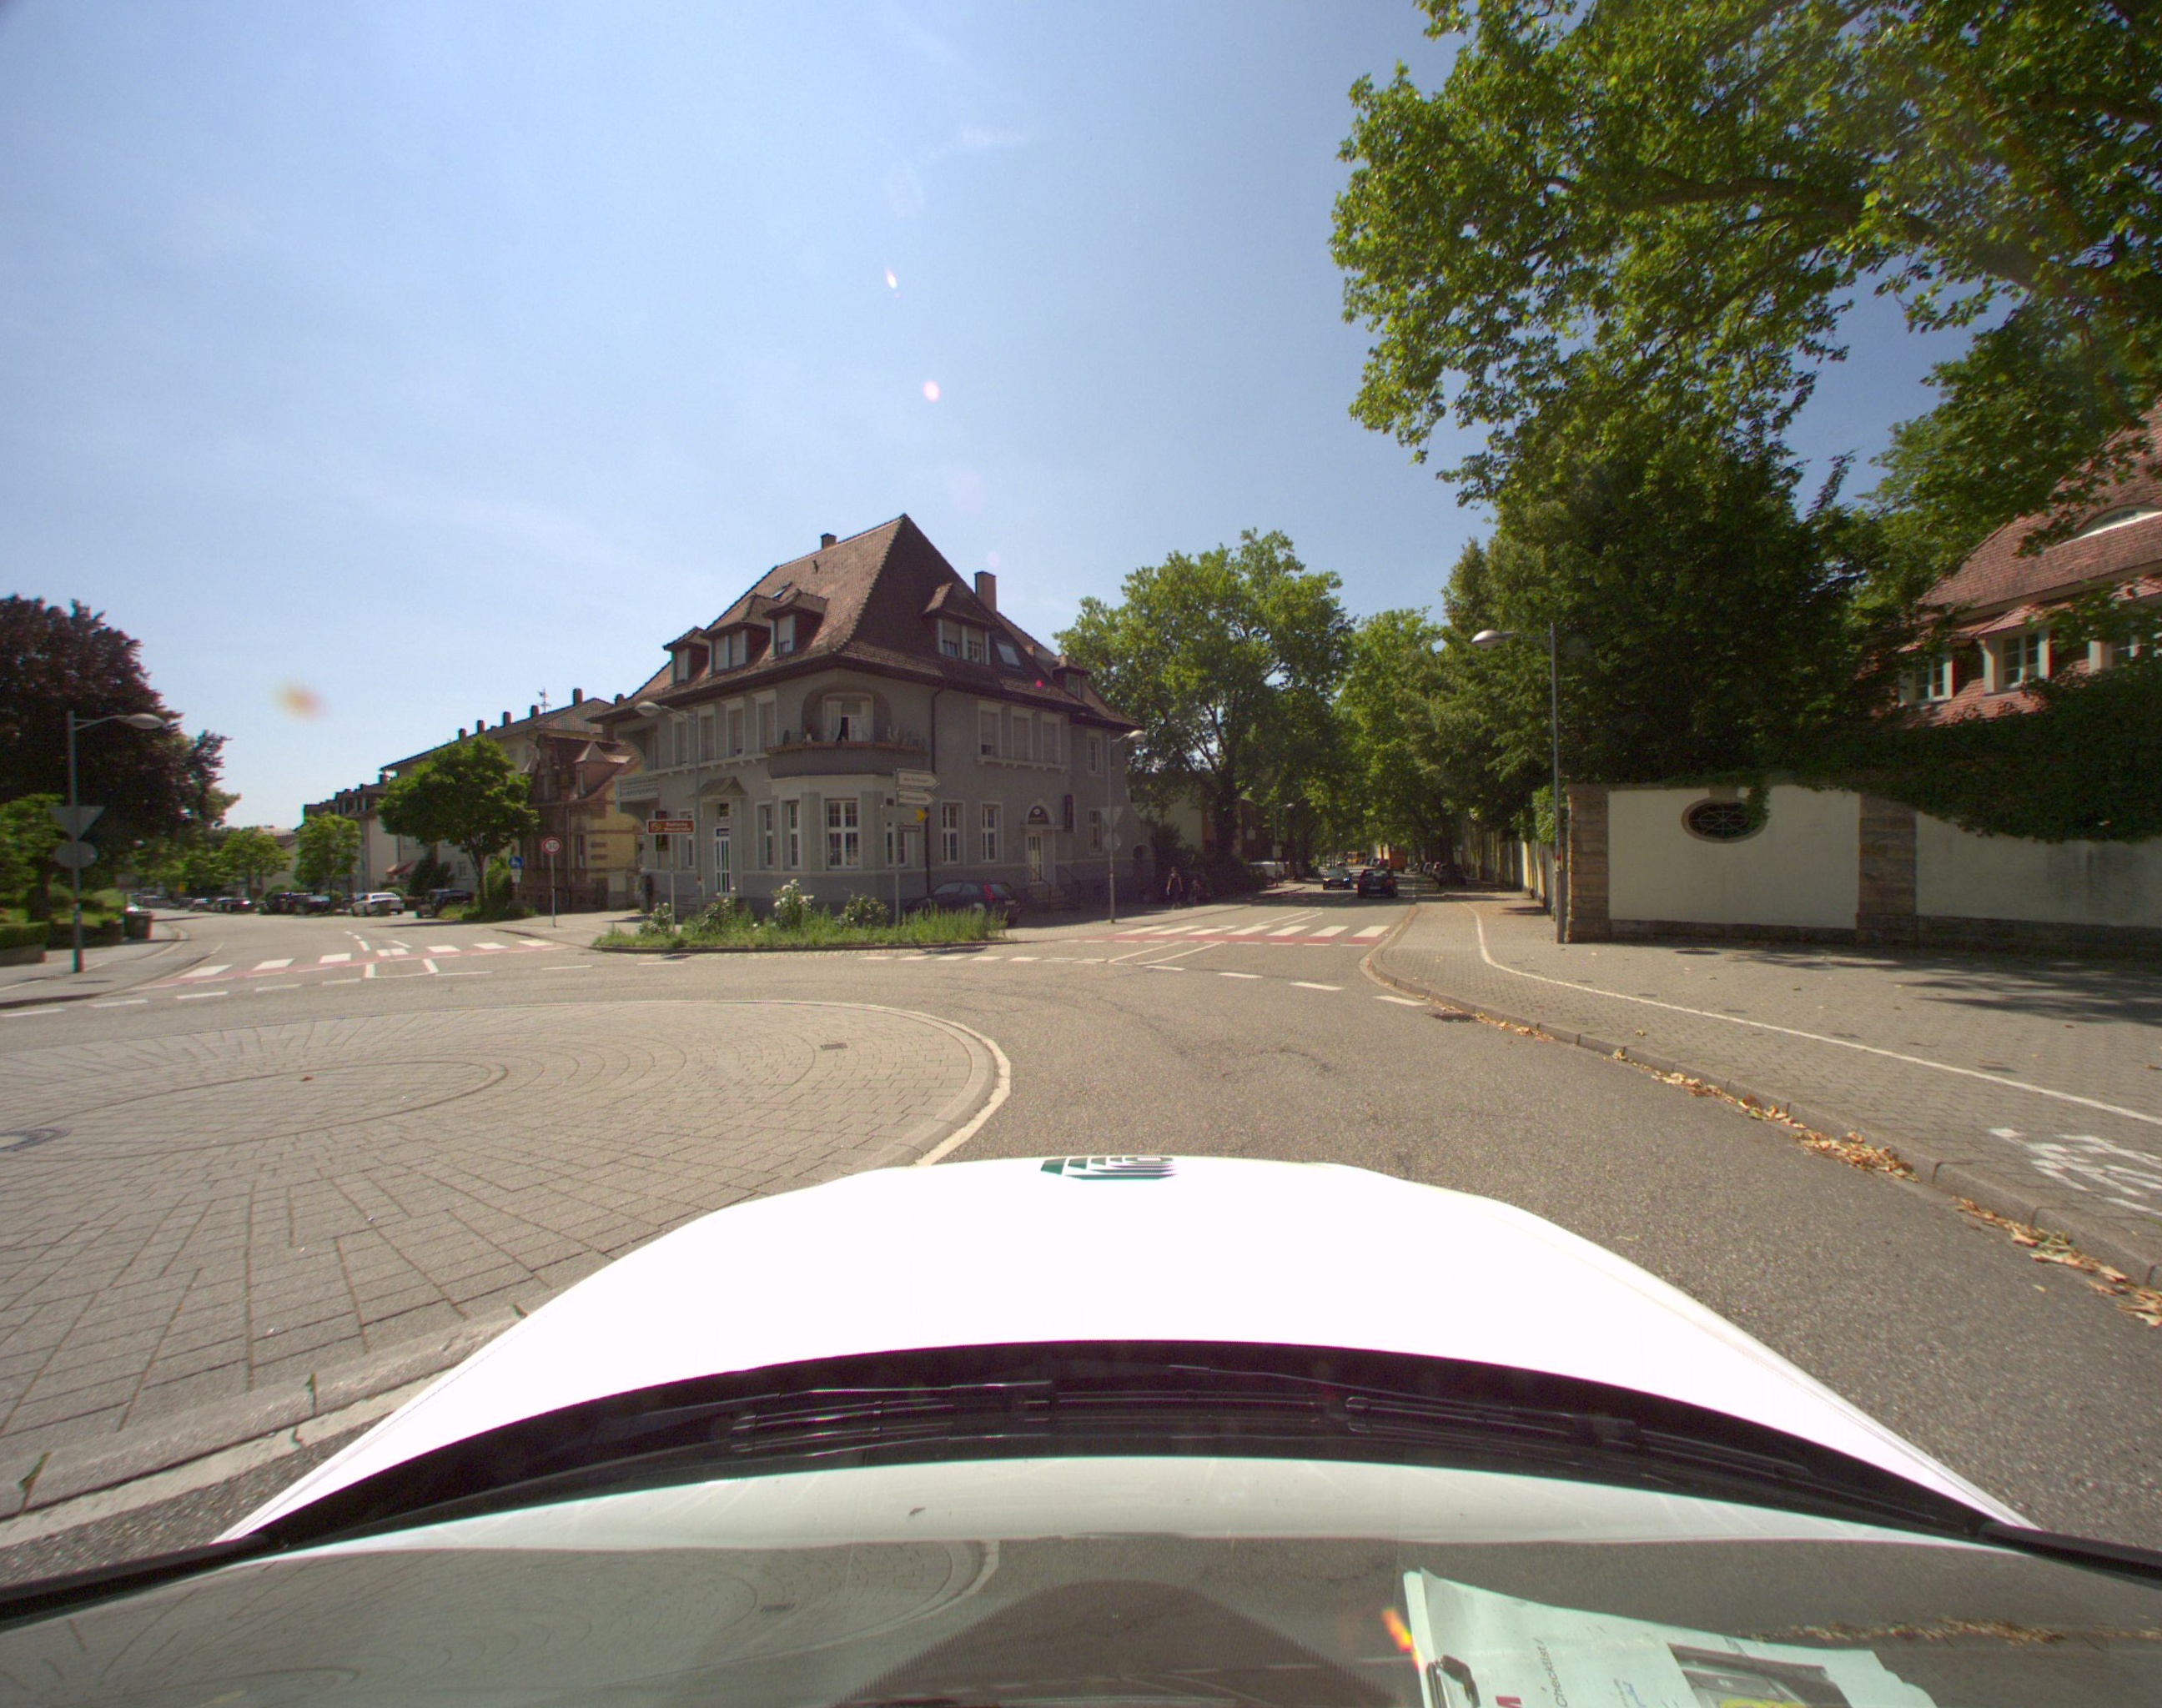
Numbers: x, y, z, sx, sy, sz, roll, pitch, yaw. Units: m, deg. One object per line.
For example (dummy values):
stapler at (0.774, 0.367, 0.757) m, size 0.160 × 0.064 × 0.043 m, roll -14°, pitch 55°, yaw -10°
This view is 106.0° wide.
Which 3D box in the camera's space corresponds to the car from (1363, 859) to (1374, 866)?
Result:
car at (63.205, 1.935, 179.013) m, size 1.756 × 1.374 × 3.739 m, roll -3°, pitch -2°, yaw 9°

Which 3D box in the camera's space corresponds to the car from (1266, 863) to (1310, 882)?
car at (20.464, 1.815, 80.431) m, size 4.094 × 1.804 × 1.912 m, roll 0°, pitch -1°, yaw 19°

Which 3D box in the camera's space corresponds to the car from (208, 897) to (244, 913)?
car at (-88.260, 5.219, 84.030) m, size 4.361 × 1.509 × 2.013 m, roll -3°, pitch -2°, yaw 36°

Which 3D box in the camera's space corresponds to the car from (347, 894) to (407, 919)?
car at (-46.025, 3.414, 53.217) m, size 4.361 × 1.509 × 2.013 m, roll -3°, pitch -2°, yaw 36°

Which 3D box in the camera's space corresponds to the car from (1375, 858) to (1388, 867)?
car at (59.096, 1.653, 160.144) m, size 1.865 × 1.686 × 4.015 m, roll -1°, pitch -2°, yaw 15°

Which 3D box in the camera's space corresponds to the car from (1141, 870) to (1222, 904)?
car at (4.771, 1.589, 38.826) m, size 3.348 × 1.547 × 1.735 m, roll -2°, pitch -2°, yaw 32°

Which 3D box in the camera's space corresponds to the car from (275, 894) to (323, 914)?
car at (-62.937, 3.989, 65.514) m, size 4.361 × 1.509 × 2.013 m, roll -3°, pitch -2°, yaw 36°

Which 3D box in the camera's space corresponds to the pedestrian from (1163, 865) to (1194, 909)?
pedestrian at (3.986, 1.353, 33.315) m, size 0.863 × 1.742 × 1.119 m, roll -2°, pitch -2°, yaw 28°

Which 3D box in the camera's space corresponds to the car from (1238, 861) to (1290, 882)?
car at (16.454, 1.578, 73.251) m, size 4.387 × 1.804 × 1.912 m, roll 0°, pitch -1°, yaw 19°

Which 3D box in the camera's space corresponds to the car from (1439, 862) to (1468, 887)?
car at (25.986, 1.411, 56.916) m, size 1.725 × 1.557 × 4.806 m, roll -3°, pitch -1°, yaw 23°

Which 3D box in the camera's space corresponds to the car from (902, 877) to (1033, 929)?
car at (-3.530, 1.490, 25.119) m, size 3.743 × 1.460 × 1.735 m, roll -2°, pitch -2°, yaw 32°

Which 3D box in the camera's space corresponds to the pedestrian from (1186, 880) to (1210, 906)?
pedestrian at (5.248, 1.751, 36.413) m, size 0.747 × 1.122 × 0.903 m, roll -2°, pitch -2°, yaw 28°

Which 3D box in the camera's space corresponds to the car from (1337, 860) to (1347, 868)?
car at (57.949, 2.153, 180.648) m, size 1.978 × 1.666 × 4.016 m, roll -1°, pitch -2°, yaw 16°

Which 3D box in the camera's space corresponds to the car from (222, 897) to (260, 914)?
car at (-83.362, 5.115, 80.843) m, size 4.361 × 1.509 × 2.013 m, roll -3°, pitch -2°, yaw 36°

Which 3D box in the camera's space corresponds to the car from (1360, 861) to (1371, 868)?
car at (65.156, 2.444, 186.594) m, size 1.755 × 1.374 × 3.740 m, roll -3°, pitch -2°, yaw 10°

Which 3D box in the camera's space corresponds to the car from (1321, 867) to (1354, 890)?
car at (17.305, 1.618, 54.804) m, size 1.753 × 1.426 × 4.415 m, roll -2°, pitch -2°, yaw 21°

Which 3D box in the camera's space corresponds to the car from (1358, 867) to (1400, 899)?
car at (14.614, 1.383, 39.840) m, size 1.696 × 1.447 × 4.080 m, roll -2°, pitch -1°, yaw 23°

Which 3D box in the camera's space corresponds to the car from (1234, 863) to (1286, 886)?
car at (14.572, 1.662, 66.205) m, size 3.954 × 1.793 × 1.877 m, roll 0°, pitch -1°, yaw 19°

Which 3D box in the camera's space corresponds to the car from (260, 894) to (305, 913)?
car at (-67.364, 4.172, 68.671) m, size 4.361 × 1.509 × 2.013 m, roll -3°, pitch -2°, yaw 36°

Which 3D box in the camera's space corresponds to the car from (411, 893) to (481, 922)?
car at (-36.120, 2.995, 46.283) m, size 4.361 × 1.509 × 2.013 m, roll -3°, pitch -2°, yaw 36°

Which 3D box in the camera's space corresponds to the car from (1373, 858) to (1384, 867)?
car at (61.035, 1.841, 167.249) m, size 1.864 × 1.686 × 4.017 m, roll -1°, pitch -2°, yaw 17°

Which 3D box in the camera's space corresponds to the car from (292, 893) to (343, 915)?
car at (-58.074, 3.785, 61.945) m, size 4.361 × 1.509 × 2.013 m, roll -3°, pitch -2°, yaw 36°

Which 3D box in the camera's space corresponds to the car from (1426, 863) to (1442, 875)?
car at (44.175, 1.838, 102.030) m, size 1.564 × 1.466 × 3.895 m, roll -3°, pitch -2°, yaw 21°

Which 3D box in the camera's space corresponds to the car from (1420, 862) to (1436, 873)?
car at (48.577, 1.915, 114.004) m, size 1.751 × 1.466 × 3.895 m, roll -3°, pitch -2°, yaw 21°

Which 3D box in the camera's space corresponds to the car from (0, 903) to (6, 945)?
car at (-41.082, 2.559, 28.195) m, size 1.974 × 1.509 × 4.446 m, roll -2°, pitch -2°, yaw 30°

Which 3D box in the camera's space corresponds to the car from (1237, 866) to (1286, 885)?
car at (15.687, 1.843, 70.634) m, size 3.954 × 1.515 × 1.877 m, roll 0°, pitch -1°, yaw 19°

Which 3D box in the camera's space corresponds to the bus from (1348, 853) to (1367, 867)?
bus at (68.565, 1.551, 202.223) m, size 2.647 × 3.151 × 11.227 m, roll -2°, pitch -2°, yaw 10°

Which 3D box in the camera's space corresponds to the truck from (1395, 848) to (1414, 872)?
truck at (44.852, 0.935, 112.944) m, size 2.350 × 3.134 × 5.798 m, roll -2°, pitch -3°, yaw 21°
